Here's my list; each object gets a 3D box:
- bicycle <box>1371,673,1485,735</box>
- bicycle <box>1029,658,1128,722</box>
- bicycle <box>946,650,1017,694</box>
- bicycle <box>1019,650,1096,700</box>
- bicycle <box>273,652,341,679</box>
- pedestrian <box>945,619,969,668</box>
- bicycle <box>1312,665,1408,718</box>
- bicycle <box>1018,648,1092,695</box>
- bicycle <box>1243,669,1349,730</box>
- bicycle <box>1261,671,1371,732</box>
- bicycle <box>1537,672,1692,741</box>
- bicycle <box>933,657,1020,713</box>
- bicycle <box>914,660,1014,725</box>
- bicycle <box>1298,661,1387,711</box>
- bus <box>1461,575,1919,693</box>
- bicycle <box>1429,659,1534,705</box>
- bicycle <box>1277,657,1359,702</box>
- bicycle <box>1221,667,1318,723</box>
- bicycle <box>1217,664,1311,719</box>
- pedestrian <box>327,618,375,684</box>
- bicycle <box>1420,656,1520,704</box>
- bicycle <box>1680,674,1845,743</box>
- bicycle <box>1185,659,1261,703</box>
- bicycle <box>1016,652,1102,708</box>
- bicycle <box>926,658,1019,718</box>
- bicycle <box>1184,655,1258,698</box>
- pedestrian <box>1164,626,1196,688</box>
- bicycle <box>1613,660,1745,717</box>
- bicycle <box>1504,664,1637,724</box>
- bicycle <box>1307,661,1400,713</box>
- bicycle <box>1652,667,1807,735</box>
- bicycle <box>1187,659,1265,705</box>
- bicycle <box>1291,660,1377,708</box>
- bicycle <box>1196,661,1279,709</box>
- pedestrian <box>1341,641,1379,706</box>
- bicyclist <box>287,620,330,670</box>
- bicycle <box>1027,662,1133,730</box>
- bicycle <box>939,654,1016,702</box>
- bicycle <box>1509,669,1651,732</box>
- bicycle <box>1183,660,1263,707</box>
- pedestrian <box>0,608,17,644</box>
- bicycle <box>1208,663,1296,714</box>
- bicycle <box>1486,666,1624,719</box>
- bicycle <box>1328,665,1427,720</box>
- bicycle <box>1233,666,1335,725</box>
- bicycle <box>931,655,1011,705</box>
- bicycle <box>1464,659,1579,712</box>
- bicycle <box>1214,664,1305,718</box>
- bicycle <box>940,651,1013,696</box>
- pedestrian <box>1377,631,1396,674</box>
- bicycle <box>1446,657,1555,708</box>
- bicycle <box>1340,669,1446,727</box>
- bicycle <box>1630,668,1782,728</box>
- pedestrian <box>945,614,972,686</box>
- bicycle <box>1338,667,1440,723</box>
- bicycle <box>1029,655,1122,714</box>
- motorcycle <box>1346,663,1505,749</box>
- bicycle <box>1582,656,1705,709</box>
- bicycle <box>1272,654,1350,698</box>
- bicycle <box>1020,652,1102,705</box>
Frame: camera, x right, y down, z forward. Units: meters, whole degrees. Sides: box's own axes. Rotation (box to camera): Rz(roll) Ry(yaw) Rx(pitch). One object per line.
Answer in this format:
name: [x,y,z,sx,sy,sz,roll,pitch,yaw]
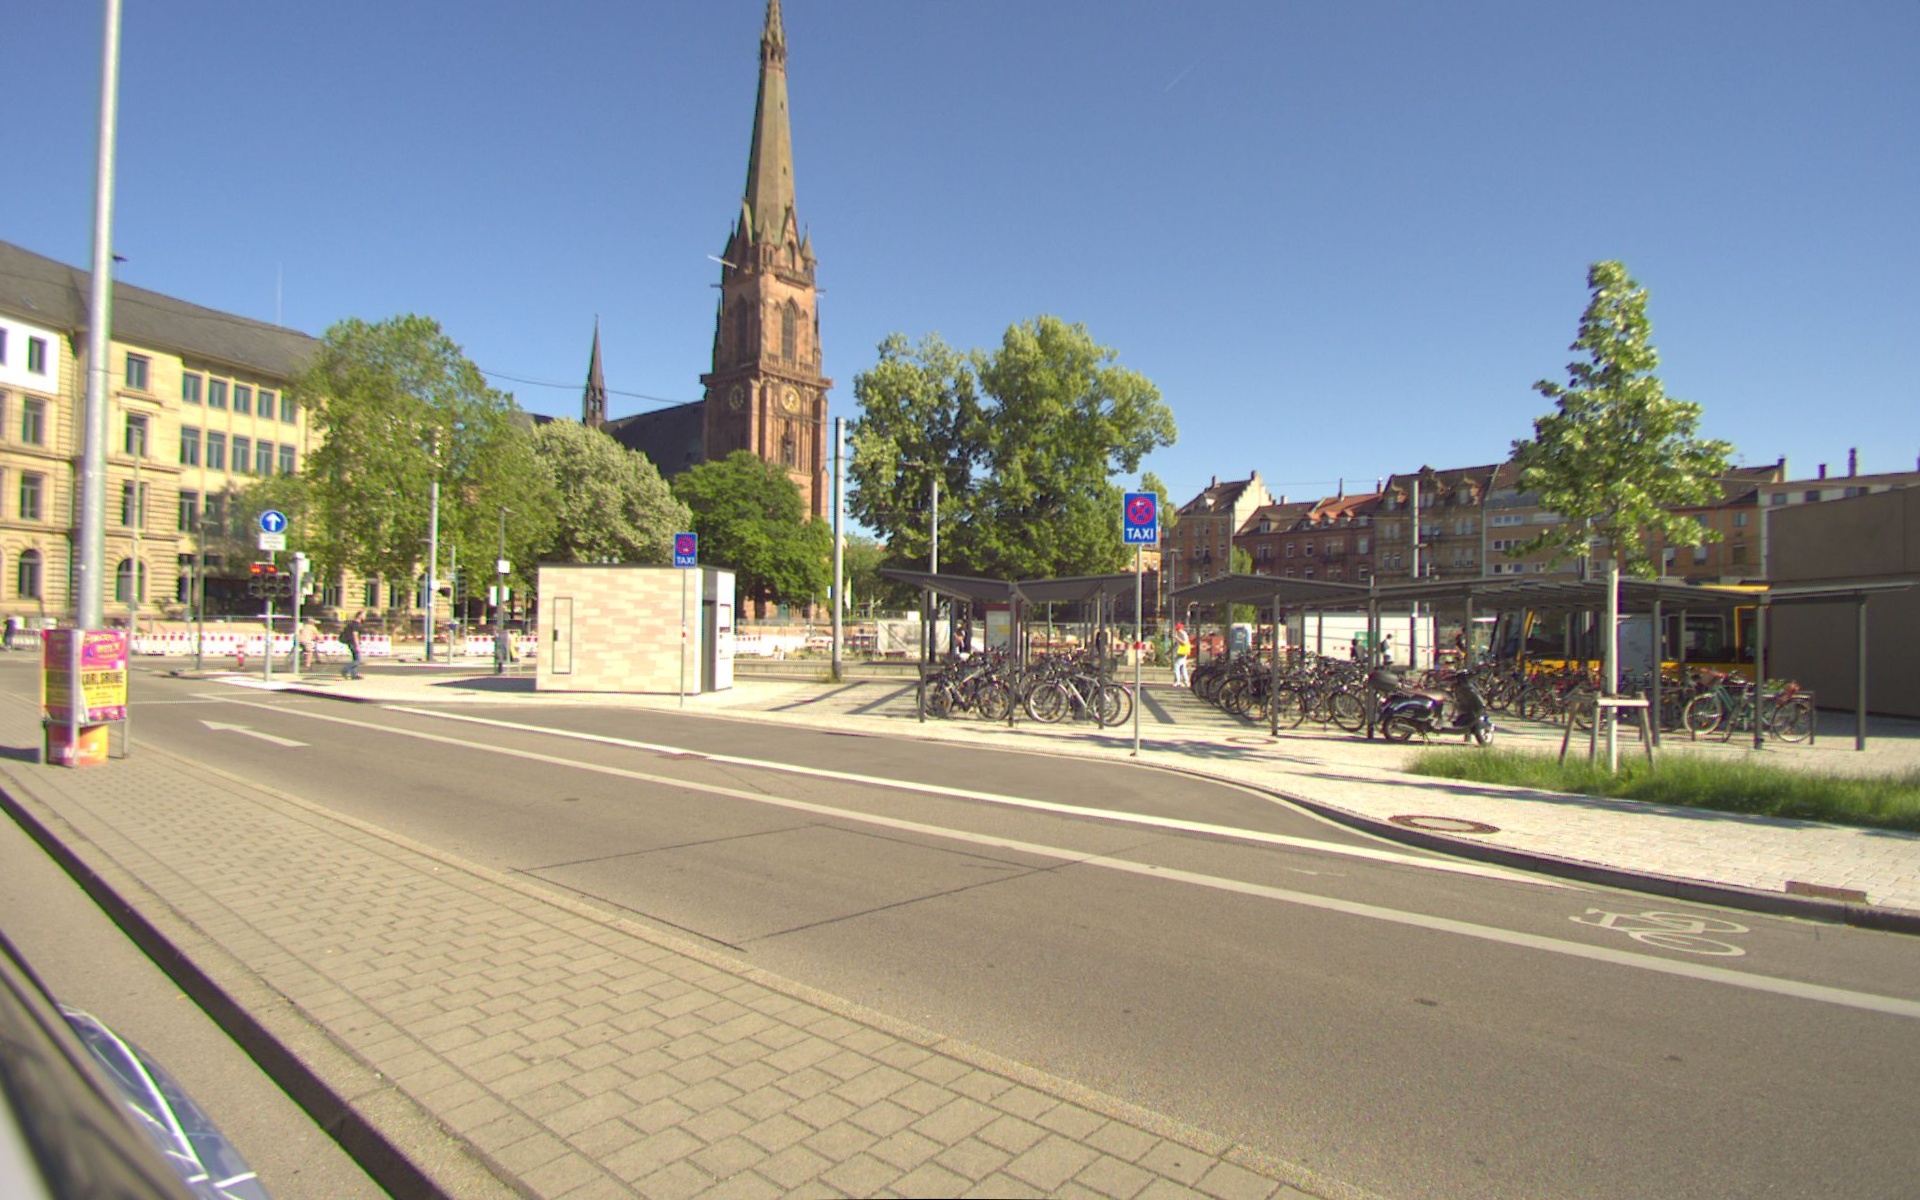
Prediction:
bicycle: [7.766,1.728,16.827,1.661,0.980,0.406,-1,0,3]
bicycle: [2.137,1.621,18.343,1.753,1.083,0.406,1,0,6]
bicycle: [0.515,1.706,24.193,1.663,1.006,0.406,0,0,8]
bicycle: [2.270,1.735,23.504,1.755,1.083,0.406,1,0,6]
bicycle: [-20.863,2.076,32.390,0.731,0.788,2.050,0,-2,3]
pedestrian: [-0.098,1.679,39.043,0.610,1.874,0.703,2,-2,-39]
bicycle: [7.714,1.767,19.535,1.661,0.980,0.406,-1,0,3]
bicycle: [2.312,1.728,24.684,1.755,1.083,0.406,1,0,6]
bicycle: [5.792,1.714,17.469,1.661,0.980,0.406,1,0,3]
bicycle: [5.931,1.689,16.896,1.661,0.980,0.406,-1,0,3]
bicycle: [10.570,1.715,16.395,2.048,1.045,0.533,-1,0,8]
bicycle: [0.326,1.668,19.951,1.663,1.006,0.406,2,0,8]
bicycle: [0.065,1.578,17.389,1.663,1.006,0.406,2,0,8]
bicycle: [7.859,1.765,20.832,1.661,0.980,0.406,-1,0,3]
bus: [21.838,0.938,28.666,13.462,3.095,2.859,0,-2,6]
bicycle: [12.029,1.884,23.380,2.048,1.045,0.533,-1,-4,8]
bicycle: [8.071,1.793,22.844,1.661,0.980,0.406,-1,0,3]
bicycle: [5.726,1.754,18.774,1.661,0.980,0.406,-1,0,3]
bicycle: [5.812,1.741,19.381,1.661,0.980,0.406,1,0,3]
pedestrian: [-16.489,1.368,27.404,0.987,1.756,0.631,2,-2,-42]
bicycle: [12.298,1.924,24.435,2.048,1.045,0.533,1,3,8]
bicycle: [12.765,1.719,16.144,2.048,1.045,0.533,-1,0,8]
bicycle: [6.135,1.886,23.630,1.661,0.980,0.406,1,-5,3]
bicycle: [2.051,1.647,20.979,1.755,1.083,0.406,1,0,6]
bicycle: [0.229,1.601,18.607,1.663,1.006,0.406,2,0,8]
bicycle: [6.254,1.841,24.318,1.661,0.980,0.406,1,-5,3]
pedestrian: [5.887,1.505,27.048,0.692,1.635,0.621,1,-2,-3]
bicycle: [13.850,1.704,19.531,2.048,1.045,0.533,-1,0,8]
bicycle: [11.320,1.737,18.818,2.048,1.045,0.533,-1,0,8]
bicycle: [7.855,1.734,20.235,1.661,0.980,0.406,-1,0,3]
bicycle: [12.987,1.701,17.122,2.030,1.087,0.604,-1,0,7]
bicycle: [6.051,1.864,23.057,1.661,0.980,0.406,1,-5,3]
bicycle: [7.986,1.794,21.629,1.661,0.980,0.406,-1,0,3]
bicycle: [5.923,1.810,21.646,1.661,0.980,0.406,1,-5,3]
pedestrian: [12.114,2.214,30.659,0.757,1.931,0.805,1,-2,-11]
bicyclist: [-20.856,1.426,32.405,0.731,1.583,0.885,0,-2,4]
bicycle: [2.020,1.610,17.098,1.753,1.083,0.406,1,-3,6]
bicycle: [0.383,1.709,22.291,1.663,1.006,0.406,0,0,8]
bicycle: [10.791,1.745,17.671,2.048,1.045,0.533,-1,0,8]
bicycle: [5.784,1.842,22.302,1.661,0.980,0.406,1,-5,3]
pedestrian: [-46.919,1.266,49.760,0.540,1.733,0.538,0,-2,3]
bicycle: [5.923,1.789,20.570,1.661,0.980,0.406,1,-5,3]
bicycle: [11.612,1.803,19.796,2.208,0.951,0.685,-1,0,7]
bicycle: [7.840,1.735,19.019,1.661,0.980,0.406,-1,0,3]
bicycle: [5.813,1.713,18.194,1.661,0.980,0.406,1,0,3]
bicycle: [0.227,1.680,21.410,1.663,1.006,0.406,0,0,8]
bicycle: [11.774,1.800,21.271,2.048,1.045,0.533,-1,2,8]
bicycle: [5.899,1.785,19.964,1.661,0.980,0.406,1,0,3]
bicycle: [0.391,1.706,23.668,1.663,1.006,0.406,0,0,8]
pedestrian: [18.864,2.317,44.771,0.637,1.885,0.529,0,-2,5]
bicycle: [11.864,1.806,22.262,2.048,1.045,0.533,-1,2,8]
bicycle: [7.641,1.729,17.898,1.661,0.980,0.406,-1,0,3]
bicycle: [13.477,1.768,18.336,2.117,1.005,0.690,-1,0,7]
pedestrian: [-0.043,1.318,26.781,0.692,1.873,0.620,0,-1,0]
bicycle: [7.821,1.727,18.466,1.661,0.980,0.406,-1,0,3]
bicycle: [2.233,1.624,19.588,1.755,1.083,0.406,1,0,6]
motorcycle: [6.951,1.578,15.177,2.059,1.228,0.569,-1,-2,3]
bicycle: [14.076,1.701,20.883,2.048,1.045,0.533,-1,0,8]
bicycle: [8.289,1.790,23.921,1.661,0.980,0.406,-1,0,3]
bicycle: [2.191,1.698,22.034,1.755,1.083,0.406,1,0,6]
